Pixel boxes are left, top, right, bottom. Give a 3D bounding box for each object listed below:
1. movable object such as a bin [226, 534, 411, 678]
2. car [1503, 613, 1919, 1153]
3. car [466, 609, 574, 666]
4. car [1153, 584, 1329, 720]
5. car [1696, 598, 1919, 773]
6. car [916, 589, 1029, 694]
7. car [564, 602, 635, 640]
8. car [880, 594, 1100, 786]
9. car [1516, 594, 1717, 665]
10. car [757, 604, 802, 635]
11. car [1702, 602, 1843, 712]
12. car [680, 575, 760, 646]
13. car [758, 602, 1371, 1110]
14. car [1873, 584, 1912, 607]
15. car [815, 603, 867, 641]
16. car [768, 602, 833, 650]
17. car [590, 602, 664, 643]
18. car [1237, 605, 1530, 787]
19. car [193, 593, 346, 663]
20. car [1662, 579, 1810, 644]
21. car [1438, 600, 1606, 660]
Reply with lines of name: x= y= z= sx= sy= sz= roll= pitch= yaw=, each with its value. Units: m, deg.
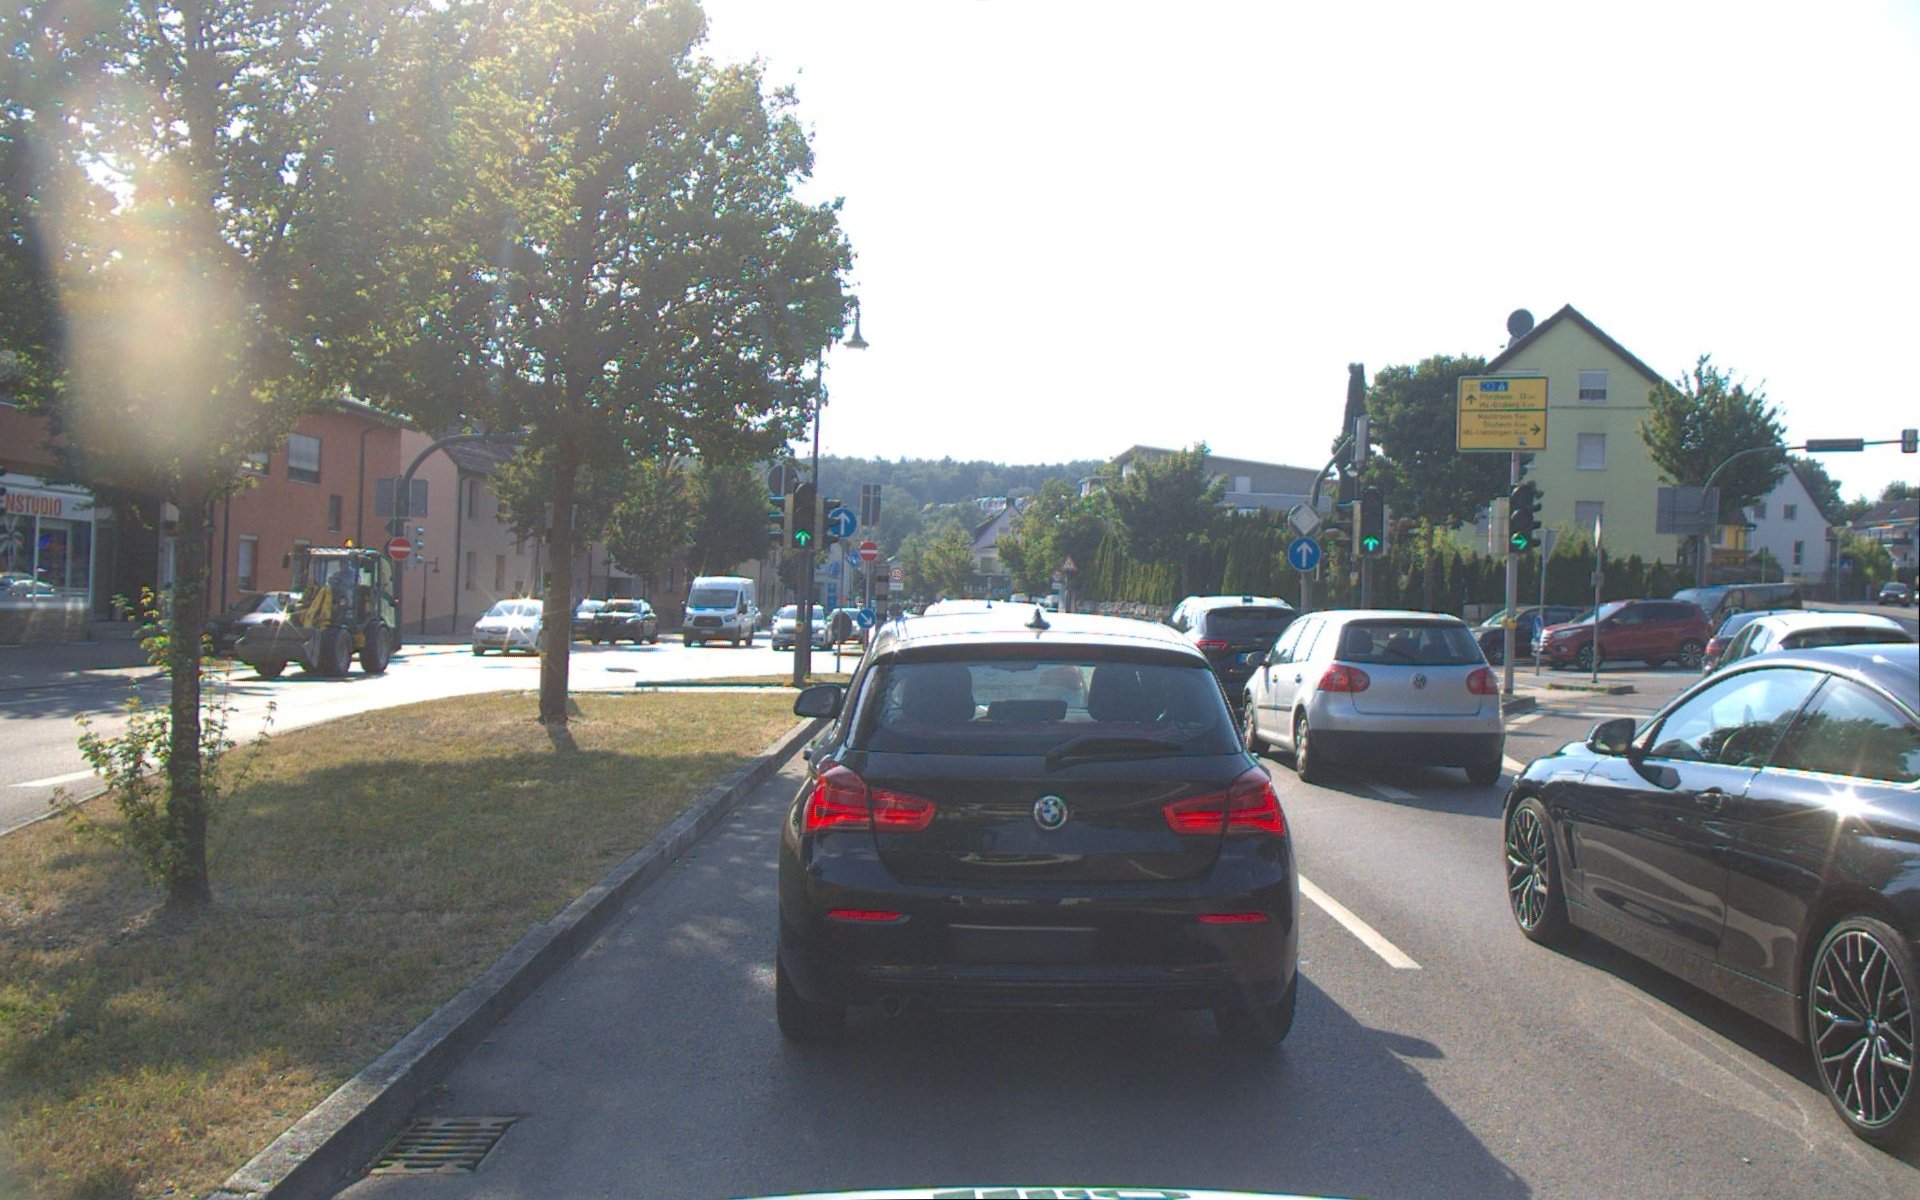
movable object such as a bin: x=-11.840 y=0.111 z=30.847 sx=1.701 sy=2.485 sz=4.449 roll=0 pitch=0 yaw=0
car: x=3.473 y=0.785 z=5.786 sx=1.725 sy=1.422 sz=4.280 roll=-1 pitch=0 yaw=0
car: x=-11.962 y=1.001 z=45.213 sx=1.701 sy=1.323 sz=3.800 roll=5 pitch=0 yaw=2
car: x=3.743 y=0.651 z=22.653 sx=1.725 sy=1.685 sz=3.902 roll=-1 pitch=0 yaw=0
car: x=8.607 y=0.776 z=16.667 sx=1.583 sy=1.569 sz=3.320 roll=-1 pitch=0 yaw=13
car: x=0.196 y=0.639 z=28.016 sx=1.751 sy=1.622 sz=4.280 roll=-1 pitch=0 yaw=0
car: x=-14.500 y=0.835 z=66.762 sx=1.701 sy=1.323 sz=4.001 roll=5 pitch=0 yaw=3
car: x=0.236 y=0.716 z=15.396 sx=1.751 sy=1.520 sz=4.280 roll=-1 pitch=0 yaw=0
car: x=16.328 y=0.713 z=41.222 sx=4.333 sy=1.670 sz=1.845 roll=1 pitch=0 yaw=-8
car: x=-9.053 y=0.953 z=83.290 sx=1.801 sy=1.508 sz=4.000 roll=1 pitch=0 yaw=0
car: x=13.083 y=0.848 z=26.507 sx=1.626 sy=1.569 sz=4.388 roll=-1 pitch=0 yaw=32
car: x=-8.619 y=0.376 z=59.934 sx=2.042 sy=2.435 sz=5.528 roll=1 pitch=0 yaw=0
car: x=0.298 y=0.735 z=6.892 sx=1.751 sy=1.422 sz=4.280 roll=-1 pitch=0 yaw=0
car: x=69.883 y=-0.312 z=123.924 sx=1.934 sy=1.709 sz=4.195 roll=0 pitch=0 yaw=38
car: x=-4.857 y=0.883 z=67.941 sx=1.801 sy=1.508 sz=4.000 roll=1 pitch=0 yaw=0
car: x=-5.304 y=0.830 z=55.375 sx=1.801 sy=1.508 sz=4.000 roll=1 pitch=0 yaw=0
car: x=-12.154 y=0.801 z=60.628 sx=1.701 sy=1.323 sz=3.800 roll=5 pitch=0 yaw=2
car: x=3.790 y=0.792 z=15.473 sx=1.725 sy=1.451 sz=3.902 roll=-1 pitch=0 yaw=0
car: x=-15.469 y=0.587 z=37.260 sx=1.702 sy=1.323 sz=3.999 roll=5 pitch=0 yaw=-1
car: x=22.193 y=0.335 z=47.247 sx=4.732 sy=1.770 sz=1.824 roll=1 pitch=0 yaw=-37
car: x=15.172 y=0.788 z=44.801 sx=3.907 sy=1.515 sz=1.847 roll=1 pitch=0 yaw=-3
